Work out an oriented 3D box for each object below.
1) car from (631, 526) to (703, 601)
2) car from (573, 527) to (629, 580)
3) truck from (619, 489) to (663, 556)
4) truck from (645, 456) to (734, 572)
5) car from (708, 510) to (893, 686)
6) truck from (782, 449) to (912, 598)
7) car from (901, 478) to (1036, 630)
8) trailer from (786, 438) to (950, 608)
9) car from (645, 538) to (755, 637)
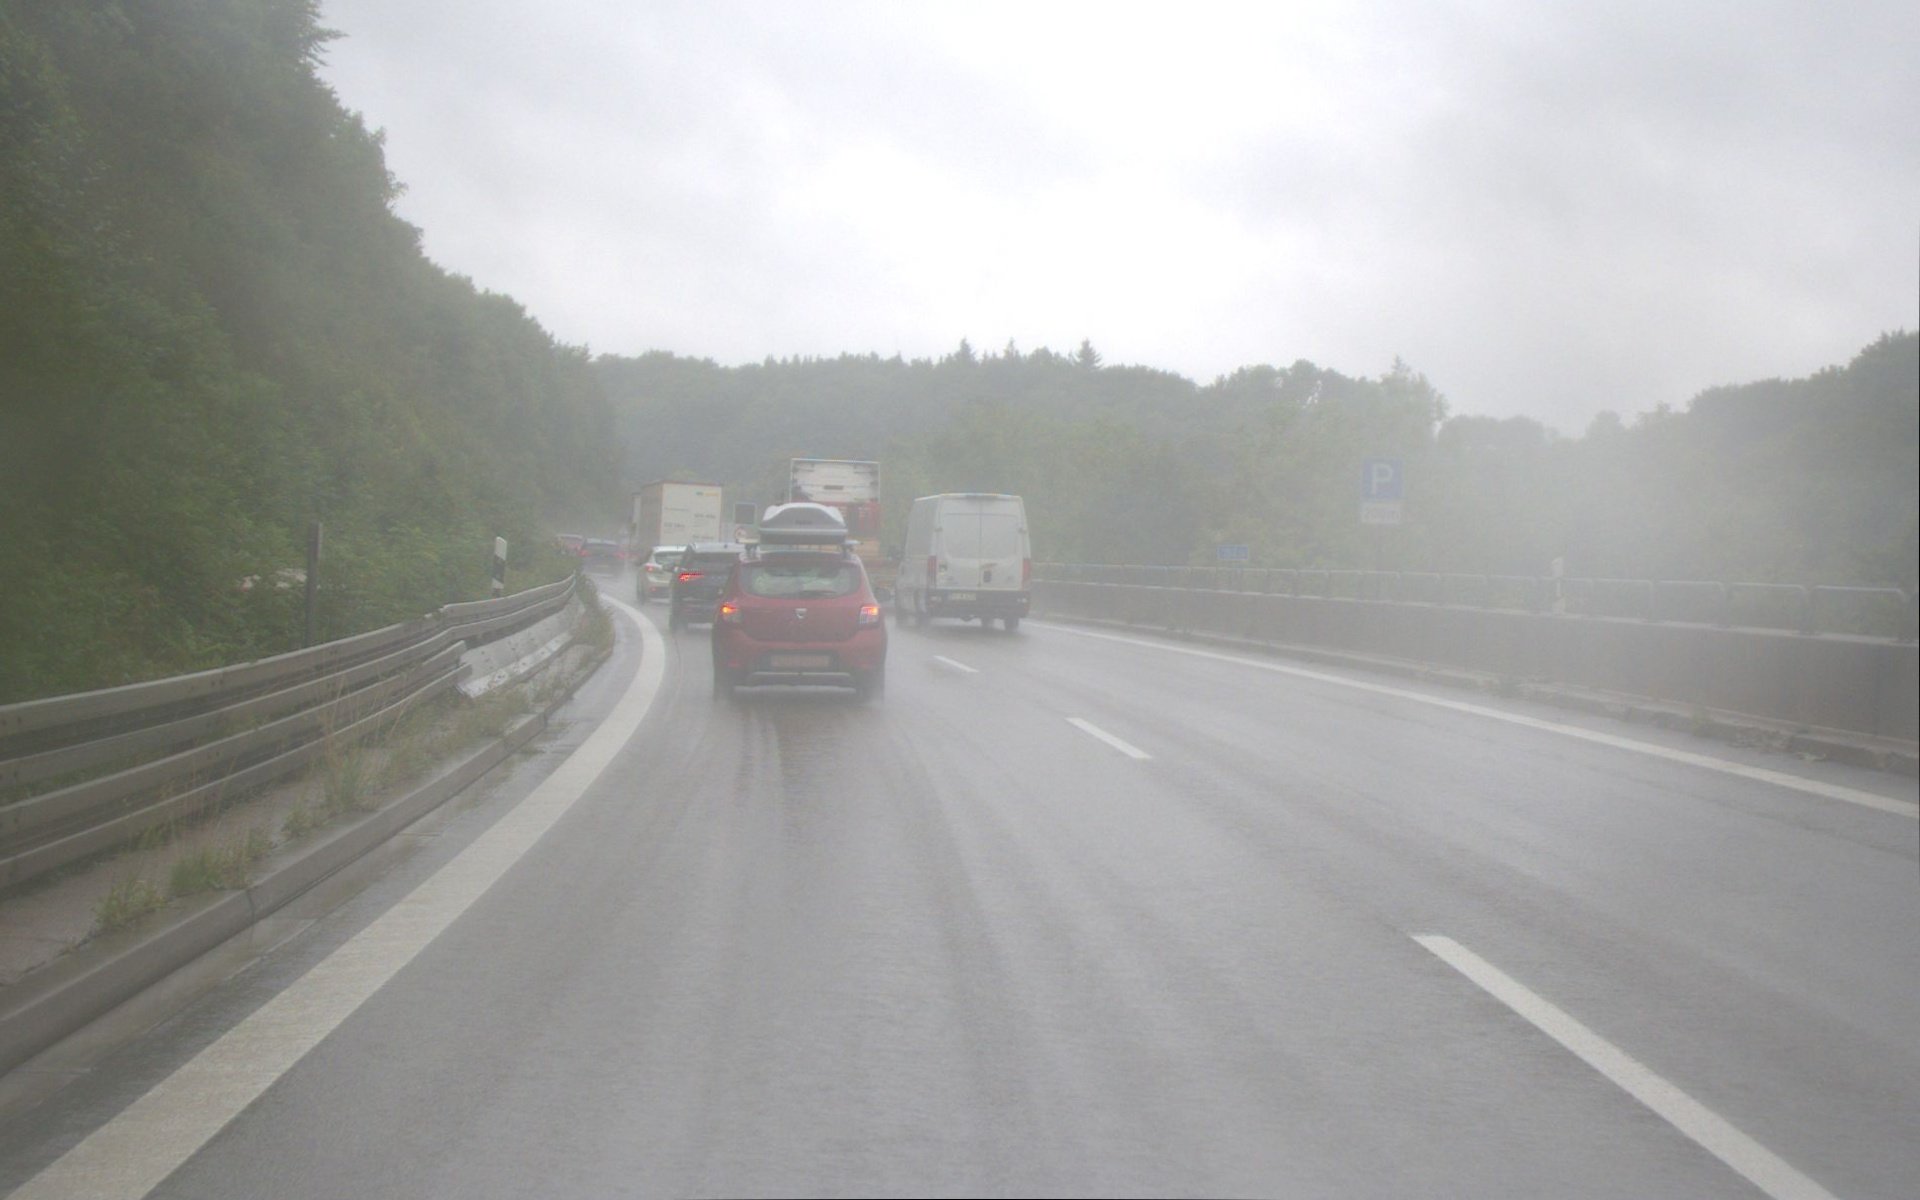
[{"bbox_3d":[-7.335,-0.908,85.725,1.715,1.811,3.893,1,0,-6],"label":"car"},{"bbox_3d":[-13.887,-1.780,133.169,1.993,2.007,4.001,1,0,-4],"label":"car"},{"bbox_3d":[-16.783,-4.047,180.707,2.105,3.409,6.224,1,0,-6],"label":"truck"},{"bbox_3d":[-11.435,-3.551,144.602,3.222,4.666,8.302,1,0,-8],"label":"truck"},{"bbox_3d":[-1.603,-0.037,35.134,1.758,1.679,4.000,1,0,-2],"label":"car"},{"bbox_3d":[-3.153,-2.088,94.555,3.219,3.964,5.440,0,1,-5],"label":"truck"},{"bbox_3d":[0.092,-0.903,66.896,2.206,2.784,7.383,0,1,-3],"label":"car"},{"bbox_3d":[-2.508,-1.924,87.859,3.218,3.985,13.526,0,1,-6],"label":"trailer"},{"bbox_3d":[-4.625,-0.247,61.566,1.823,1.690,4.000,0,1,-2],"label":"car"}]
